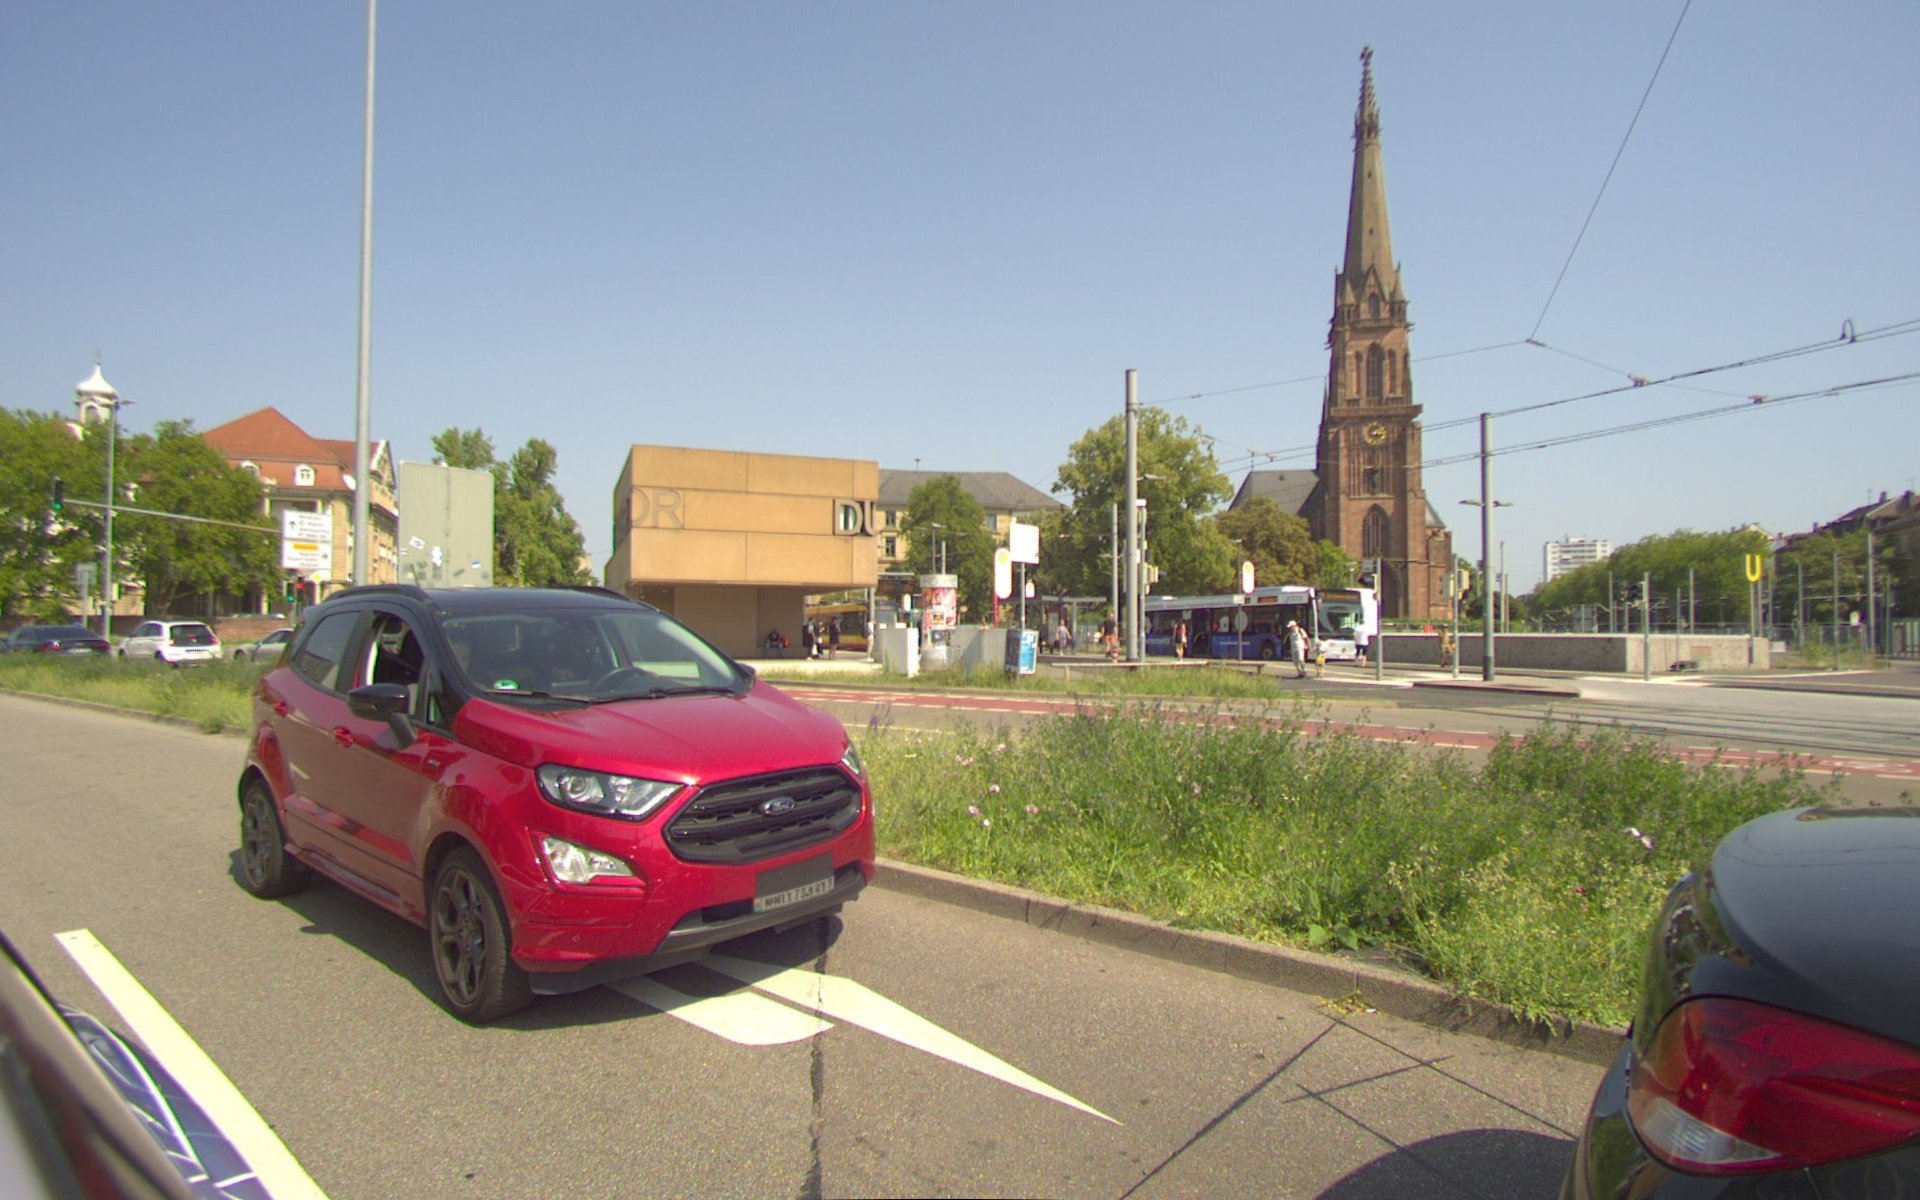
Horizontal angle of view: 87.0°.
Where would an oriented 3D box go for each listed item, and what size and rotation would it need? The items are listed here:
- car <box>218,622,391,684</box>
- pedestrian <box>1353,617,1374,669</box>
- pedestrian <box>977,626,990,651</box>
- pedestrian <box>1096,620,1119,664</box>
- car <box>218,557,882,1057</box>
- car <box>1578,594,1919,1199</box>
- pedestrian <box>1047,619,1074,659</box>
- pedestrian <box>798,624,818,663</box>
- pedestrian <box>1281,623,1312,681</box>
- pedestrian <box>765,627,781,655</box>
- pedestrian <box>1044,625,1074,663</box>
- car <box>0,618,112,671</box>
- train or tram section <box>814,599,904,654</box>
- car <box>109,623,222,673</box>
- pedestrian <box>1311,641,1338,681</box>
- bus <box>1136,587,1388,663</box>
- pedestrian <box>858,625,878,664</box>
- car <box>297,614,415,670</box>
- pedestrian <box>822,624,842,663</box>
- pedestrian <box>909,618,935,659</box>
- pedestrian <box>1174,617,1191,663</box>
[{"bbox_3d":[-18.164,1.430,28.015,4.693,1.597,1.981,-1,-2,28],"label":"car"},{"bbox_3d":[14.262,1.511,35.783,0.635,1.825,0.596,-1,0,25],"label":"pedestrian"},{"bbox_3d":[1.278,2.116,55.530,0.546,1.405,0.535,1,-2,-21],"label":"pedestrian"},{"bbox_3d":[6.191,1.762,42.451,0.792,1.837,0.535,1,-2,-21],"label":"pedestrian"},{"bbox_3d":[-2.326,0.695,5.173,3.845,1.598,1.671,-2,-1,43],"label":"car"},{"bbox_3d":[2.686,0.659,0.440,1.744,1.398,3.785,0,-1,-43],"label":"car"},{"bbox_3d":[4.688,1.820,47.376,0.913,1.837,0.940,1,-2,-21],"label":"pedestrian"},{"bbox_3d":[-5.864,1.681,39.075,0.541,1.508,0.532,-1,-3,39],"label":"pedestrian"},{"bbox_3d":[10.110,1.564,30.411,0.681,1.724,0.538,1,-2,-17],"label":"pedestrian"},{"bbox_3d":[-7.504,1.637,40.625,0.530,1.108,0.543,1,-2,-18],"label":"pedestrian"},{"bbox_3d":[4.617,2.045,47.256,1.060,1.709,1.068,1,-2,-21],"label":"pedestrian"},{"bbox_3d":[-25.865,1.256,28.894,3.466,1.437,1.510,-1,-2,32],"label":"car"},{"bbox_3d":[-7.229,1.872,69.909,2.658,3.465,13.464,1,-2,-21],"label":"train or tram section"},{"bbox_3d":[-25.300,1.503,32.215,3.460,1.490,1.512,-1,-2,27],"label":"car"},{"bbox_3d":[10.871,1.811,30.223,0.594,1.134,0.637,-1,0,5],"label":"pedestrian"},{"bbox_3d":[12.089,1.109,42.699,3.346,2.733,12.382,1,-2,-21],"label":"bus"},{"bbox_3d":[-3.603,1.742,39.676,0.541,1.508,0.532,-1,-3,39],"label":"pedestrian"},{"bbox_3d":[-21.233,1.453,35.556,3.898,1.868,1.851,0,-2,29],"label":"car"},{"bbox_3d":[-5.043,1.716,39.896,0.541,1.508,0.532,-1,-3,39],"label":"pedestrian"},{"bbox_3d":[-1.388,1.410,37.367,0.605,1.508,0.761,-1,-3,39],"label":"pedestrian"},{"bbox_3d":[8.942,1.593,40.607,0.632,1.825,0.599,-1,0,16],"label":"pedestrian"}]
